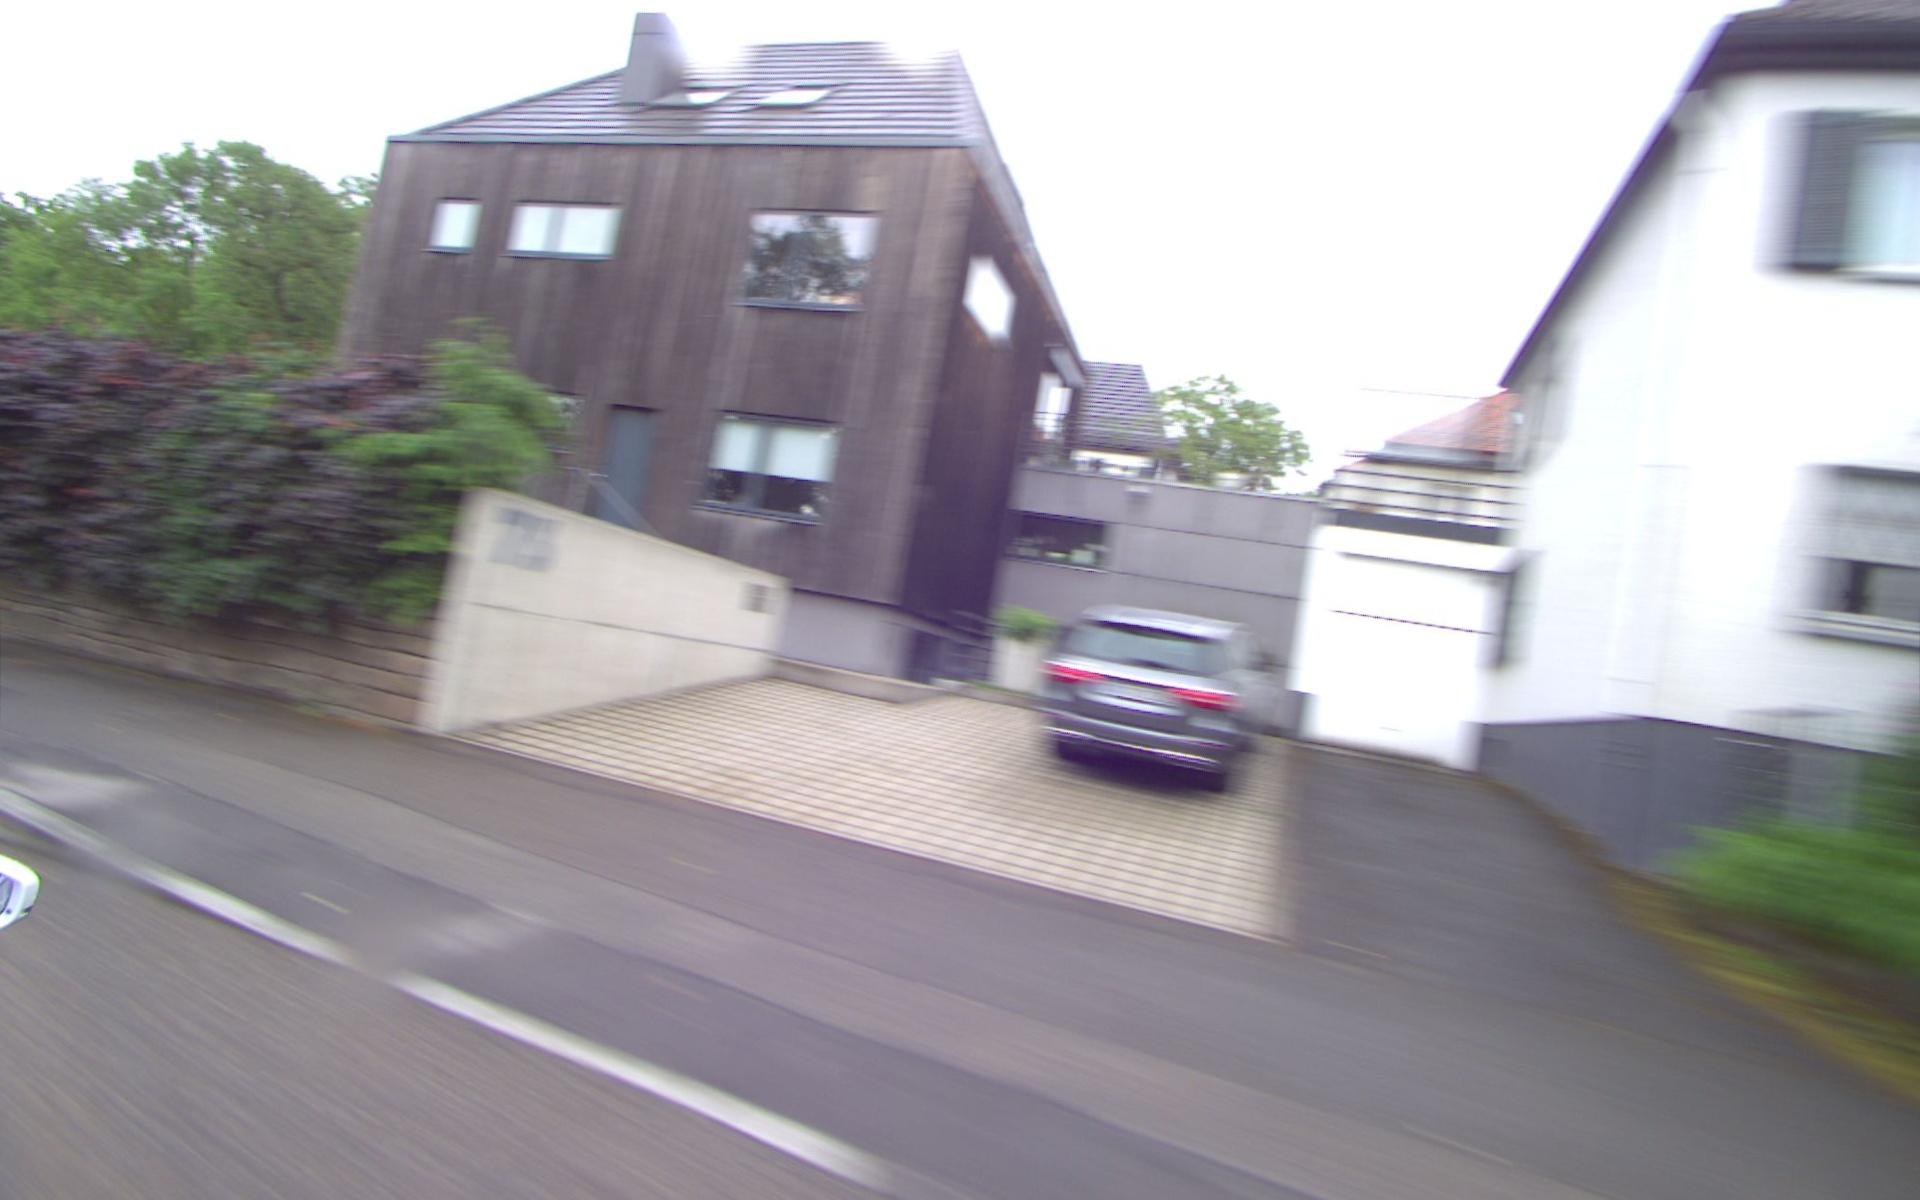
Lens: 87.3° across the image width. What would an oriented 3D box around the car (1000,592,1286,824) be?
[{"bbox_3d":[2.131,0.849,10.308,1.963,1.543,4.644,9,3,20],"label":"car"}]
